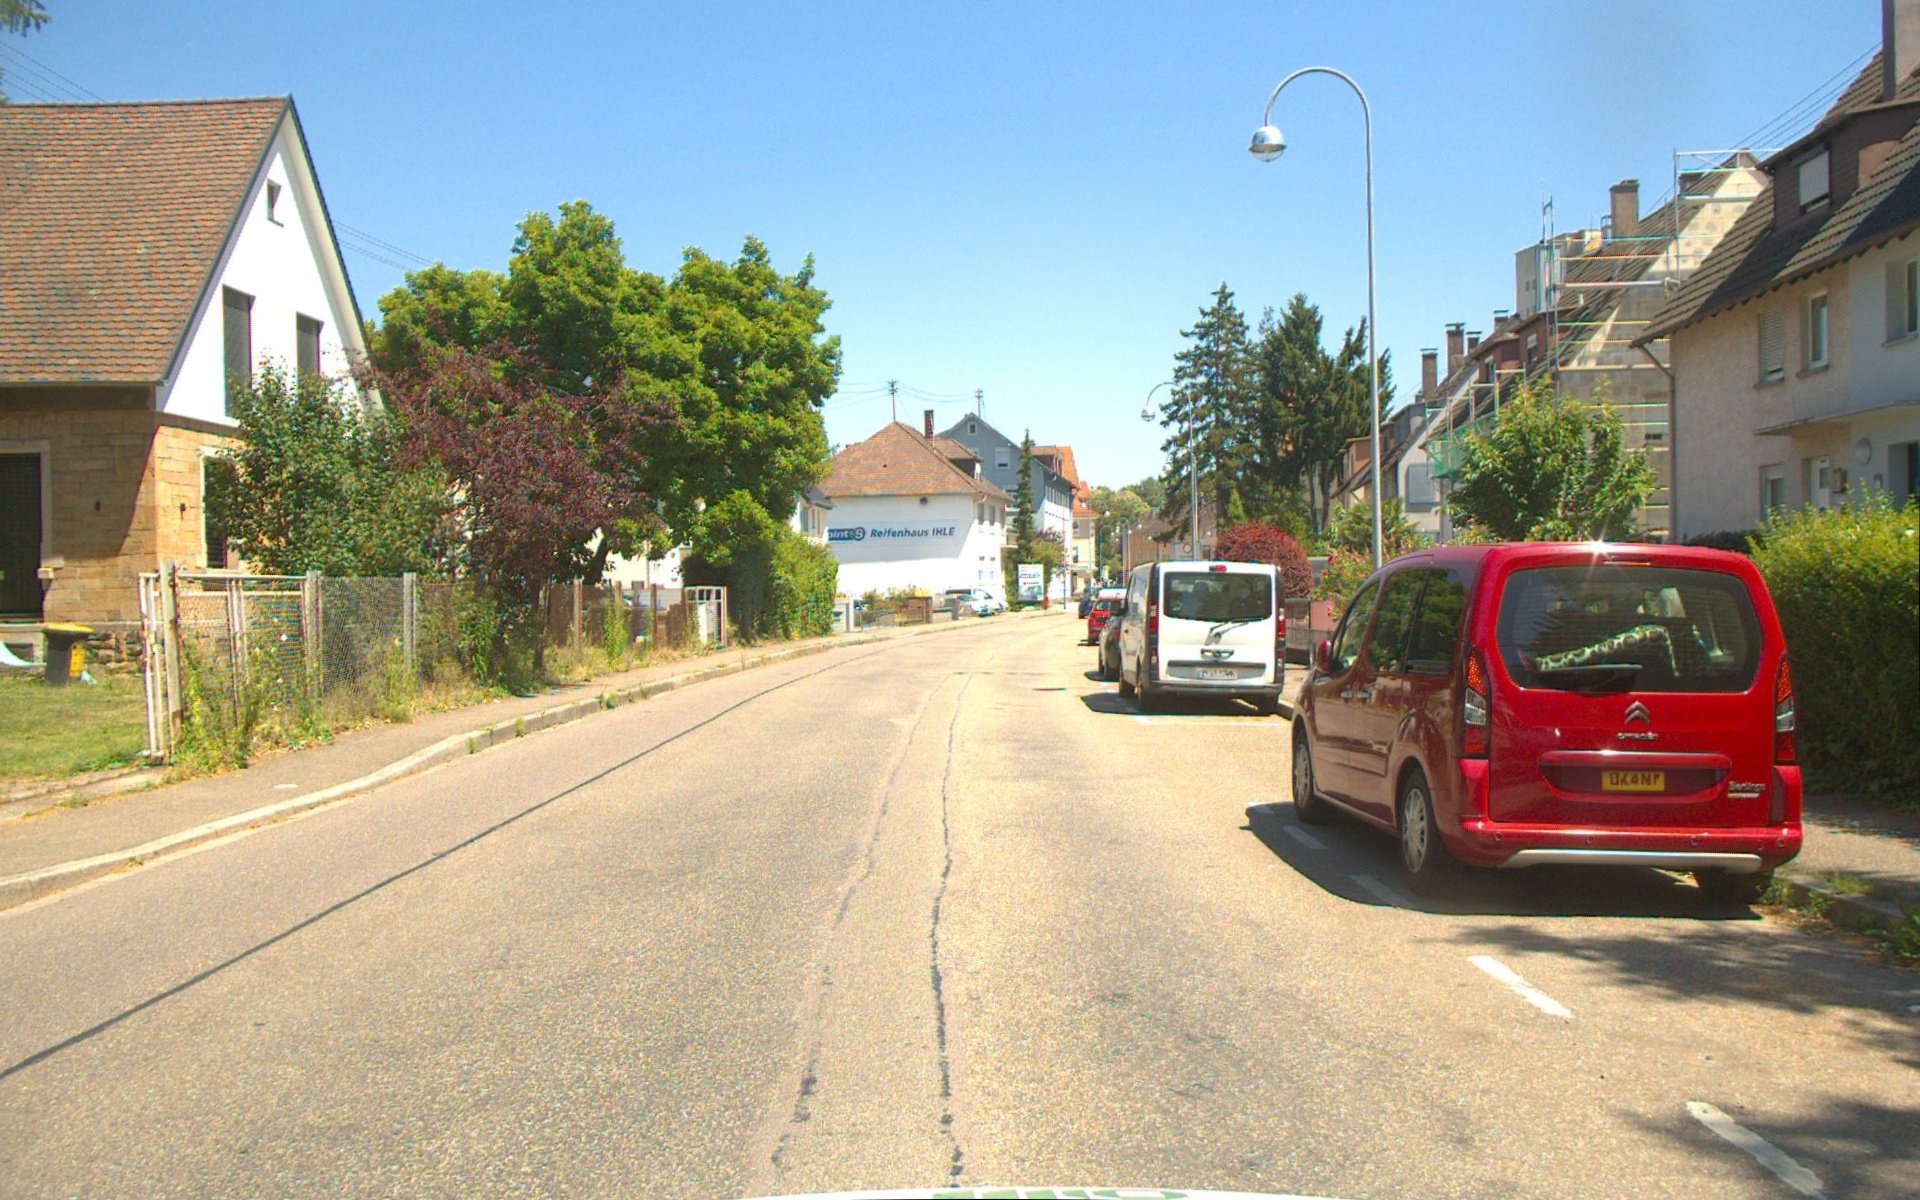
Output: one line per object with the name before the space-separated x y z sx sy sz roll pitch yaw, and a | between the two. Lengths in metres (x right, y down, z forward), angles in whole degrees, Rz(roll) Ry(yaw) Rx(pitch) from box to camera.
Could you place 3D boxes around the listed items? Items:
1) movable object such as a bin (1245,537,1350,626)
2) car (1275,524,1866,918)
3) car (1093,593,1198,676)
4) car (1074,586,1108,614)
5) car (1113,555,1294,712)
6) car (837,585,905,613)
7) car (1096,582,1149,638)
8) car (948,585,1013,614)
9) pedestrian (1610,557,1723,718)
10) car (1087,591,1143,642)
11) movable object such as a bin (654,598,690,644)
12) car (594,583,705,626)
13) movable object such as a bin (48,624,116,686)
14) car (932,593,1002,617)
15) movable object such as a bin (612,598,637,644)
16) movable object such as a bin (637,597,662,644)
movable object such as a bin | 10.721 -0.578 52.730 3.079 2.795 1.708 0 0 3
car | 3.206 0.552 9.748 1.864 1.758 4.391 1 0 0
car | 3.363 0.593 30.572 1.622 1.422 4.001 0 0 2
car | 7.477 -0.028 94.074 1.756 1.536 4.003 1 1 7
car | 3.286 0.405 23.185 1.864 1.958 4.719 0 0 0
car | -5.134 -0.068 95.290 1.787 1.536 3.934 -1 1 -45
car | 5.536 0.333 55.925 1.628 1.785 4.003 2 0 7
car | 1.334 -0.023 105.552 4.041 1.805 1.830 -1 1 5
pedestrian | 7.091 0.371 16.629 0.772 1.543 0.708 -3 0 1
car | 4.775 0.480 50.855 1.628 1.480 4.003 0 1 6
movable object such as a bin | -6.365 0.466 36.555 0.693 1.014 0.474 0 0 -1
car | -11.692 0.156 62.505 3.907 1.537 1.799 1 0 -3
movable object such as a bin | -12.610 0.784 23.772 0.554 0.842 0.724 1 0 4
car | 0.398 0.283 100.447 4.070 1.367 1.899 0 1 43
movable object such as a bin | -7.557 0.459 37.268 0.457 1.027 0.506 0 0 1
movable object such as a bin | -7.002 0.459 37.273 0.457 1.027 0.506 0 0 1
